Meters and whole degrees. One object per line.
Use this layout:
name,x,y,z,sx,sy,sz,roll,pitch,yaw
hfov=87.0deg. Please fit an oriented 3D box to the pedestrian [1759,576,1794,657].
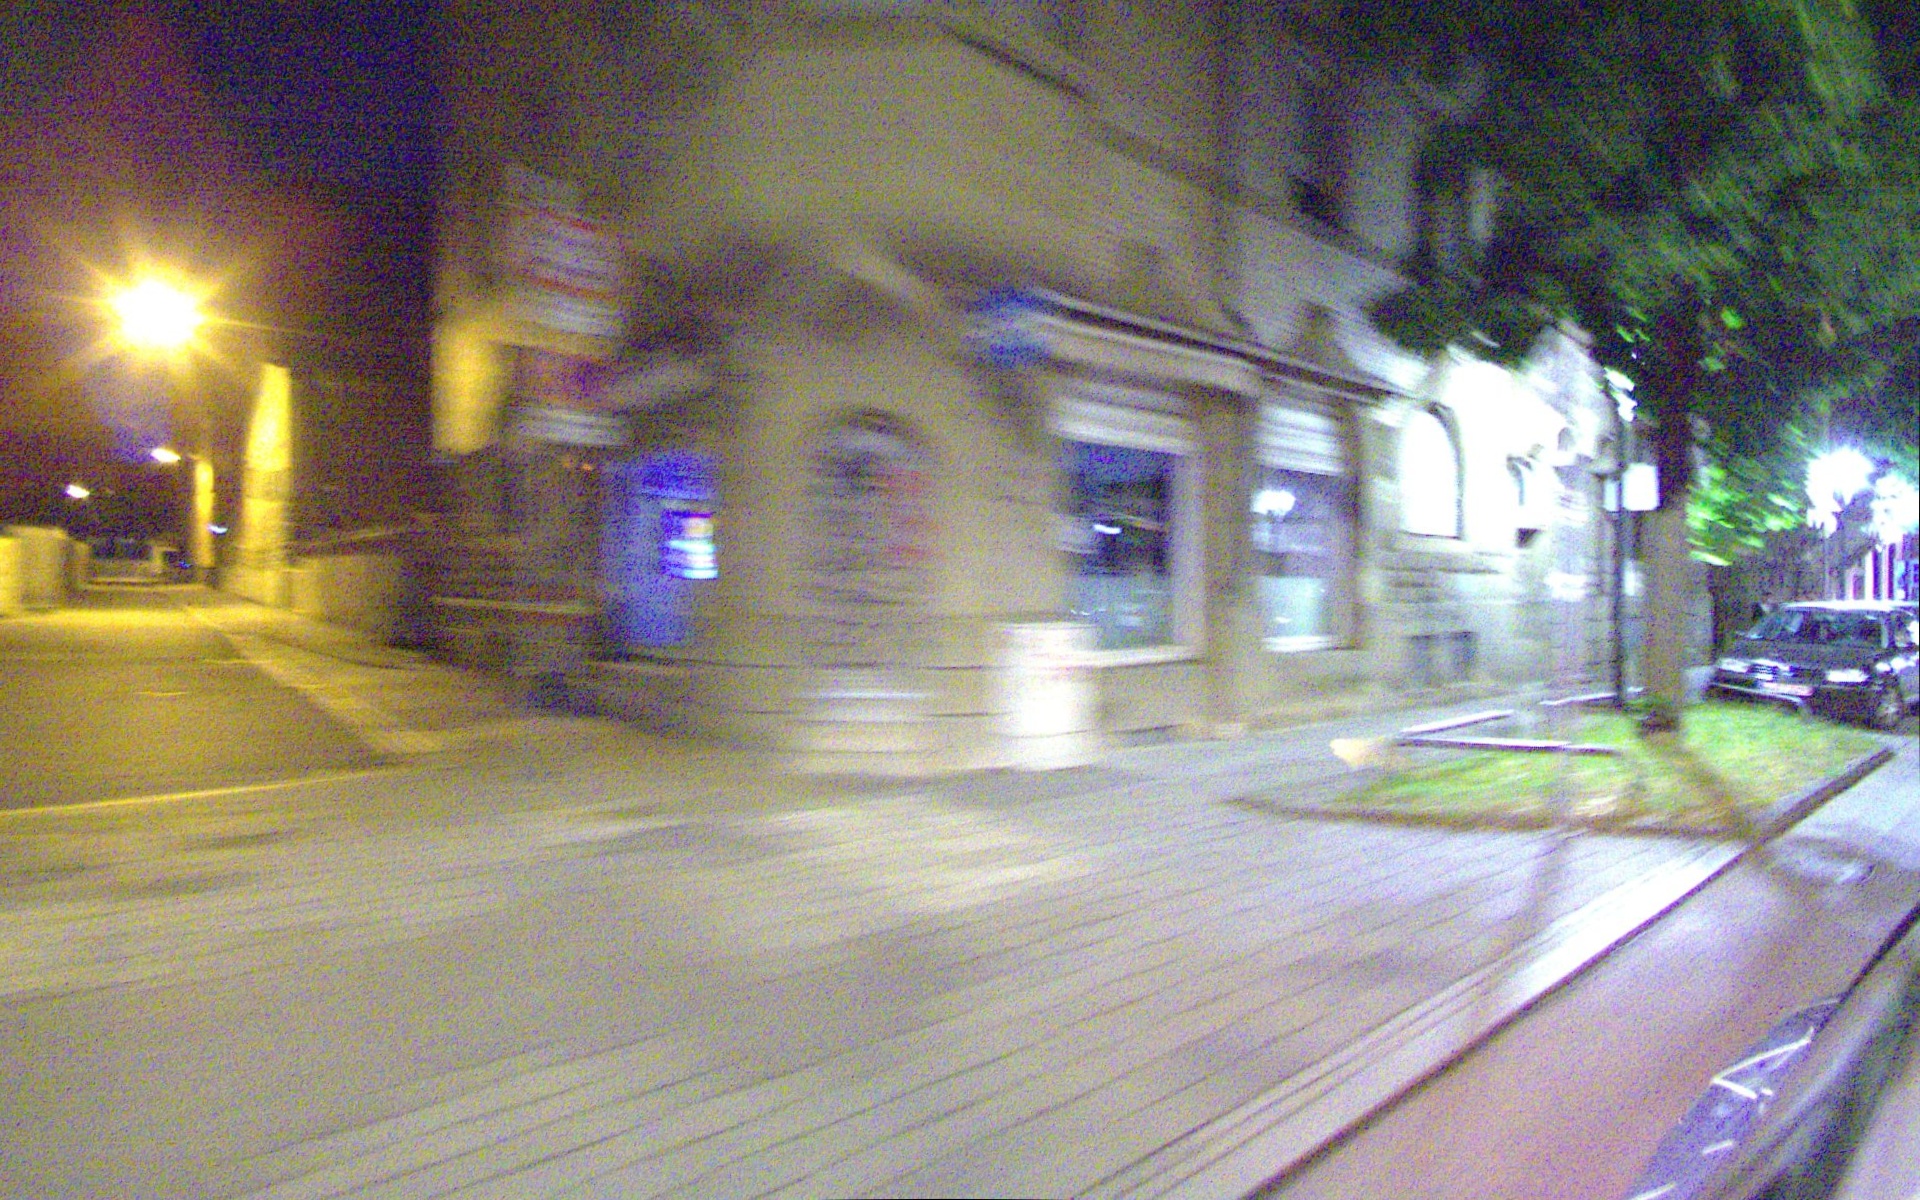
pedestrian,17.722,0.336,21.959,0.561,1.730,0.477,0,1,-40

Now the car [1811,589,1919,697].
car,15.369,0.611,16.434,4.390,1.519,1.735,-1,3,-42

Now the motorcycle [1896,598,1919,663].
motorcycle,21.427,0.667,21.645,1.916,1.370,0.759,0,1,15

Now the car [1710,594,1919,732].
car,11.381,0.684,13.109,3.928,1.472,1.741,-1,1,-39

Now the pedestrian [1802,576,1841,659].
pedestrian,18.236,0.351,21.418,0.692,1.730,0.508,0,1,-40

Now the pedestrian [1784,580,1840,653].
pedestrian,19.672,0.368,23.372,0.949,1.652,0.808,-1,0,-39
